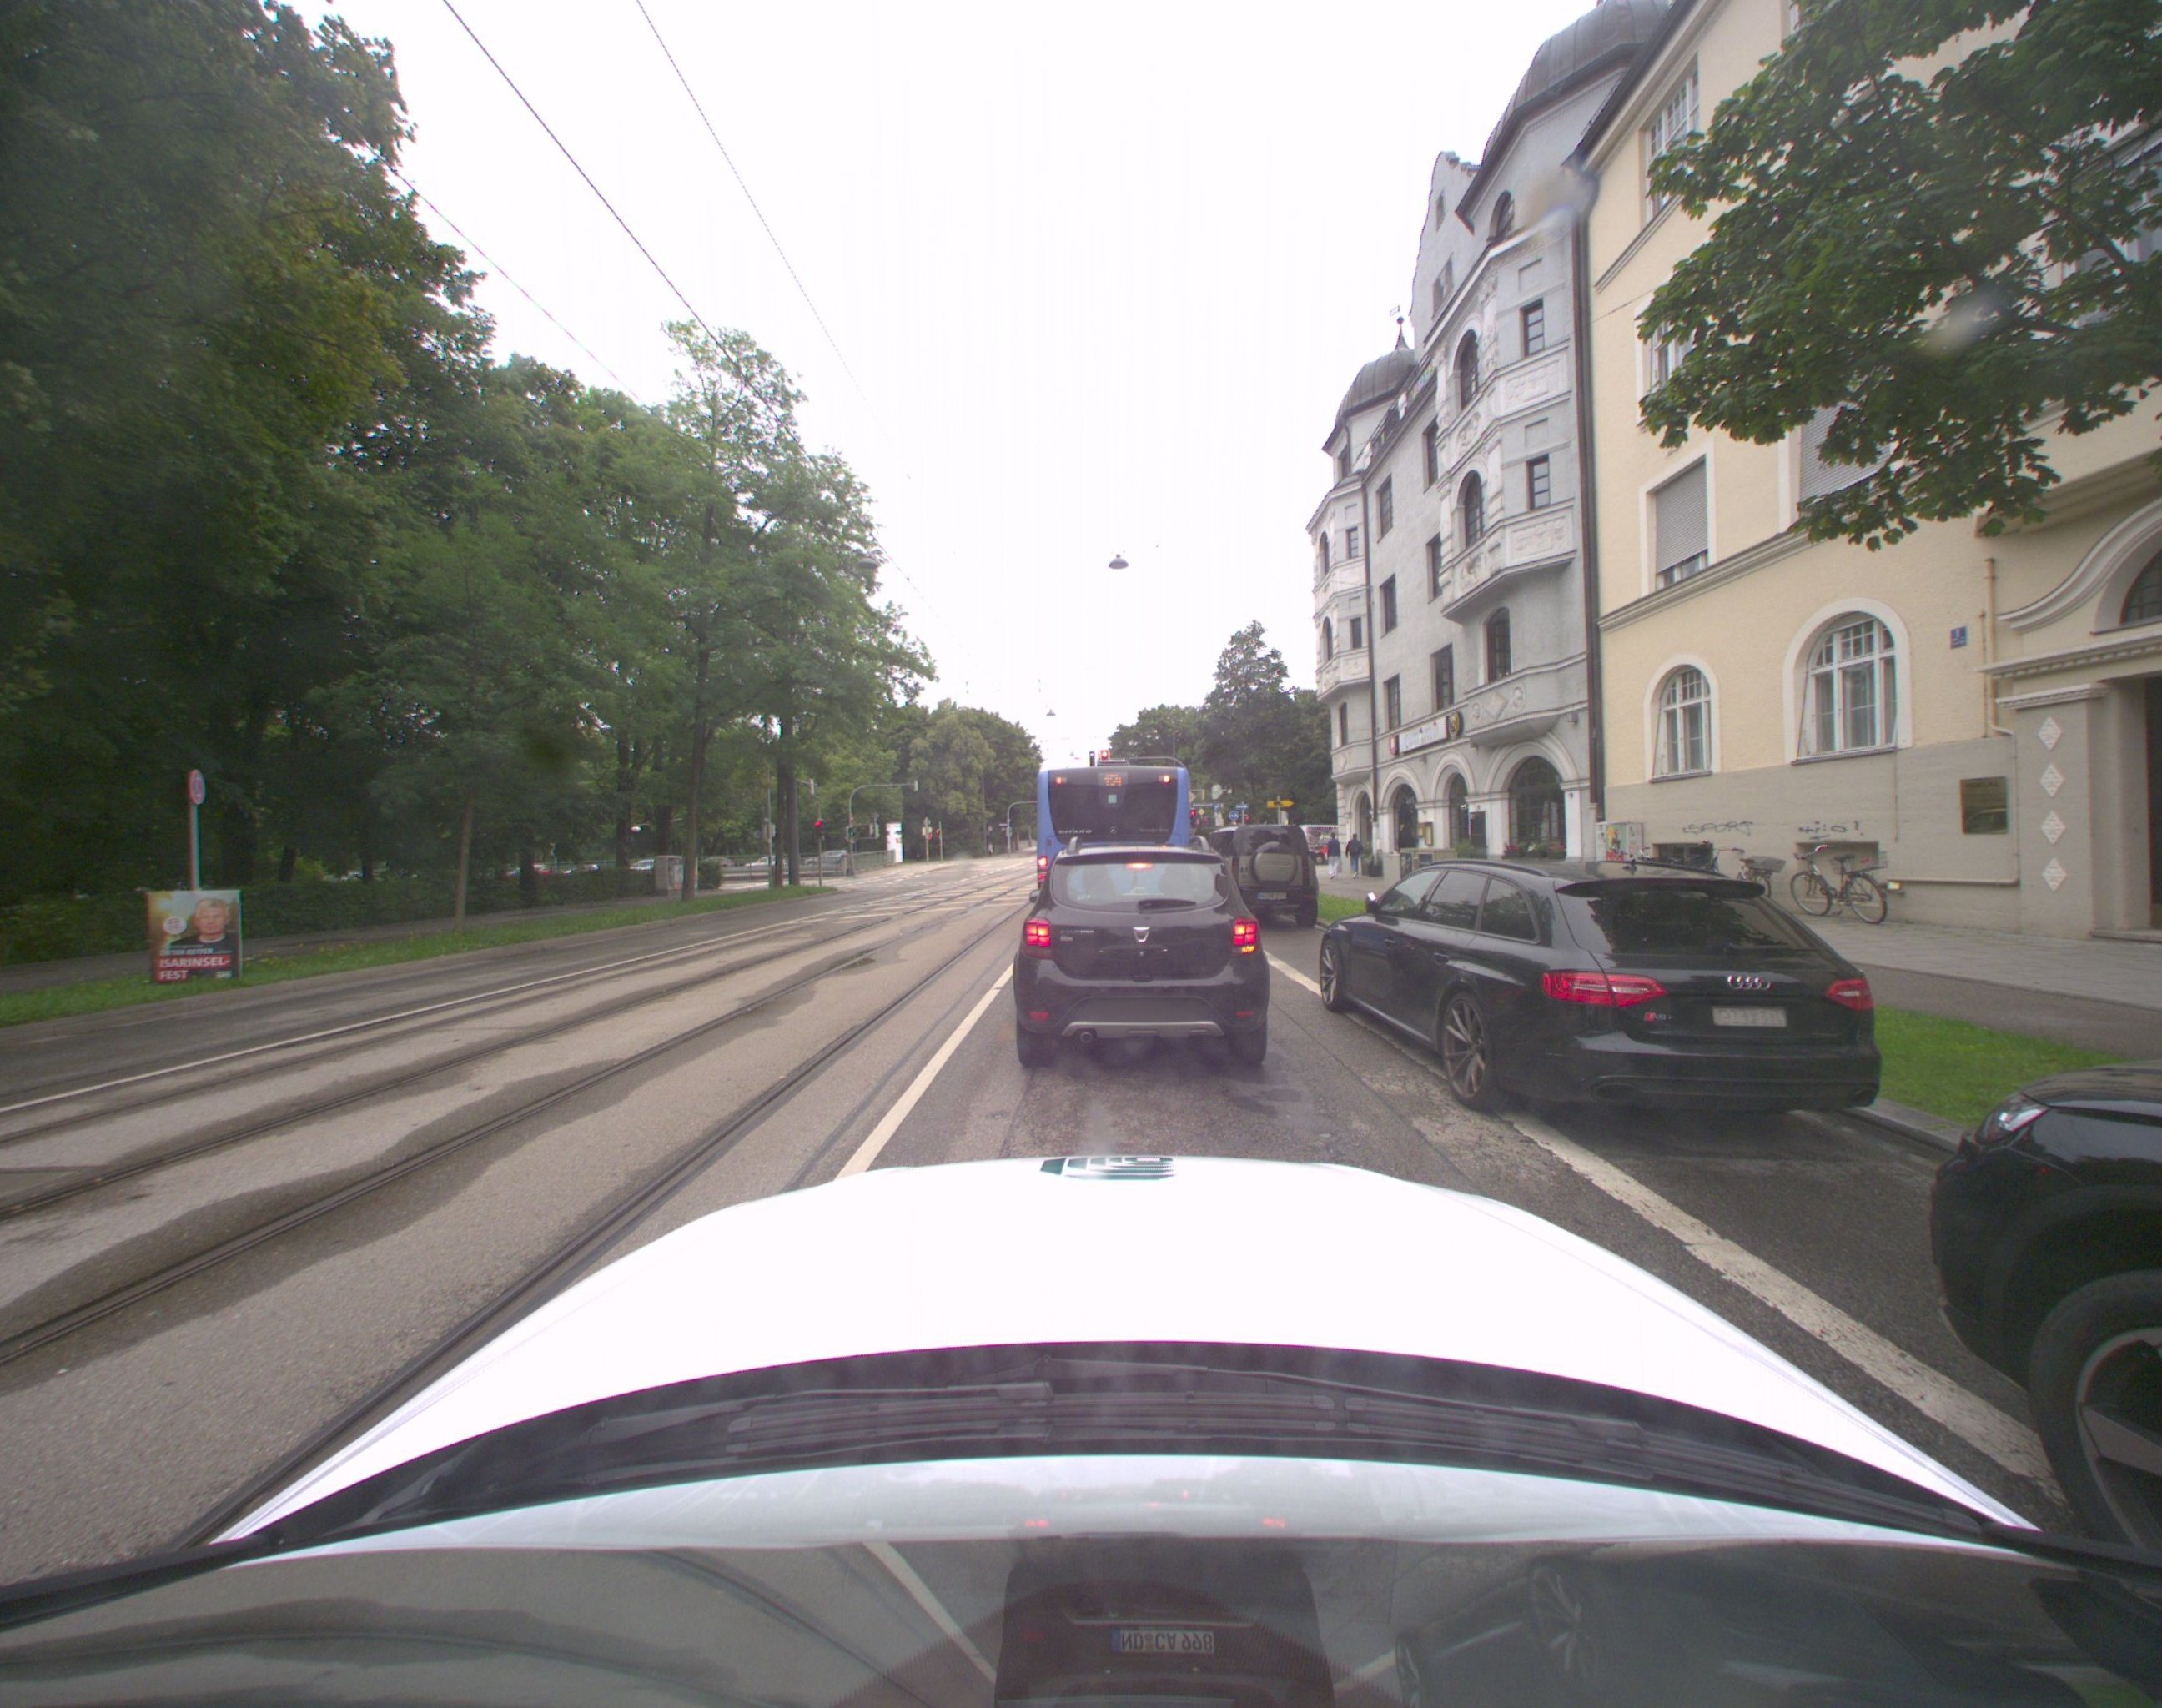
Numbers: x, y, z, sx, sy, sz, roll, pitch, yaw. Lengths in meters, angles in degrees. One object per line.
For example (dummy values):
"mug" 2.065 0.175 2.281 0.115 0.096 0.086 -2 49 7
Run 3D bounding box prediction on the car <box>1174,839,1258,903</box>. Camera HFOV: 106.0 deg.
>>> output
"car" 3.574 0.419 22.235 1.708 1.591 4.329 0 0 2

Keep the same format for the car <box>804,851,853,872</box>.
"car" -22.884 0.671 73.993 4.015 1.887 1.488 0 0 -5

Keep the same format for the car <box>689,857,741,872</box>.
"car" -32.989 0.936 73.461 3.915 1.404 1.719 0 0 -3

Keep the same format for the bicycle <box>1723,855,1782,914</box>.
"bicycle" 11.000 0.484 13.363 0.284 0.930 0.886 0 0 3

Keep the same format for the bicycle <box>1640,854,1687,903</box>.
"bicycle" 11.192 0.457 15.667 0.304 0.930 0.886 0 0 3

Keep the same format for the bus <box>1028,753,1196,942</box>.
"bus" 0.495 -0.107 16.424 2.670 2.997 6.960 0 0 0

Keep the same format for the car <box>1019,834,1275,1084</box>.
"car" 0.453 0.652 6.847 1.595 1.556 3.526 0 0 1

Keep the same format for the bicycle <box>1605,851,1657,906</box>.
"bicycle" 10.813 0.460 16.047 0.241 1.039 1.224 0 0 2

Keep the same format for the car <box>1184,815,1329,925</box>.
"car" 3.372 0.273 16.633 1.908 1.905 4.807 0 0 0

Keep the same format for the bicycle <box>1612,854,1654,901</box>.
"bicycle" 11.255 0.461 16.627 0.289 0.930 0.886 0 0 3

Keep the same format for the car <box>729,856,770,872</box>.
"car" -29.898 0.919 73.492 3.103 1.452 1.249 0 0 -4

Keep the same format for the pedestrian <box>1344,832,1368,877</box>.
"pedestrian" 10.791 0.007 31.954 0.702 1.732 0.843 0 0 2

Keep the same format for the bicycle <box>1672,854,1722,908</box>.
"bicycle" 11.101 0.473 14.699 0.271 0.930 0.886 0 0 3

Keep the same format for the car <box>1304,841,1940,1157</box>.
"car" 3.069 0.648 5.979 1.709 1.426 4.603 0 0 1

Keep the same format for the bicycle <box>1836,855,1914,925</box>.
"bicycle" 10.989 0.484 11.288 0.220 0.930 0.886 0 0 1

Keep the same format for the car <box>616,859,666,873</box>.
"car" -39.516 1.082 73.172 3.720 1.185 1.249 0 0 -4

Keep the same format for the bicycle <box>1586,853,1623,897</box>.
"bicycle" 11.284 0.445 17.565 0.258 0.930 0.886 0 0 3

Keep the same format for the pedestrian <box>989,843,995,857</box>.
"pedestrian" -9.559 -0.417 87.388 0.529 1.501 0.589 0 0 6

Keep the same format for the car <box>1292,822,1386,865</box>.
"car" 16.178 -0.663 51.248 5.281 2.612 2.229 0 0 -2

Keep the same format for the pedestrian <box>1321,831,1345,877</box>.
"pedestrian" 10.023 0.001 32.374 0.702 1.816 0.870 0 0 2
